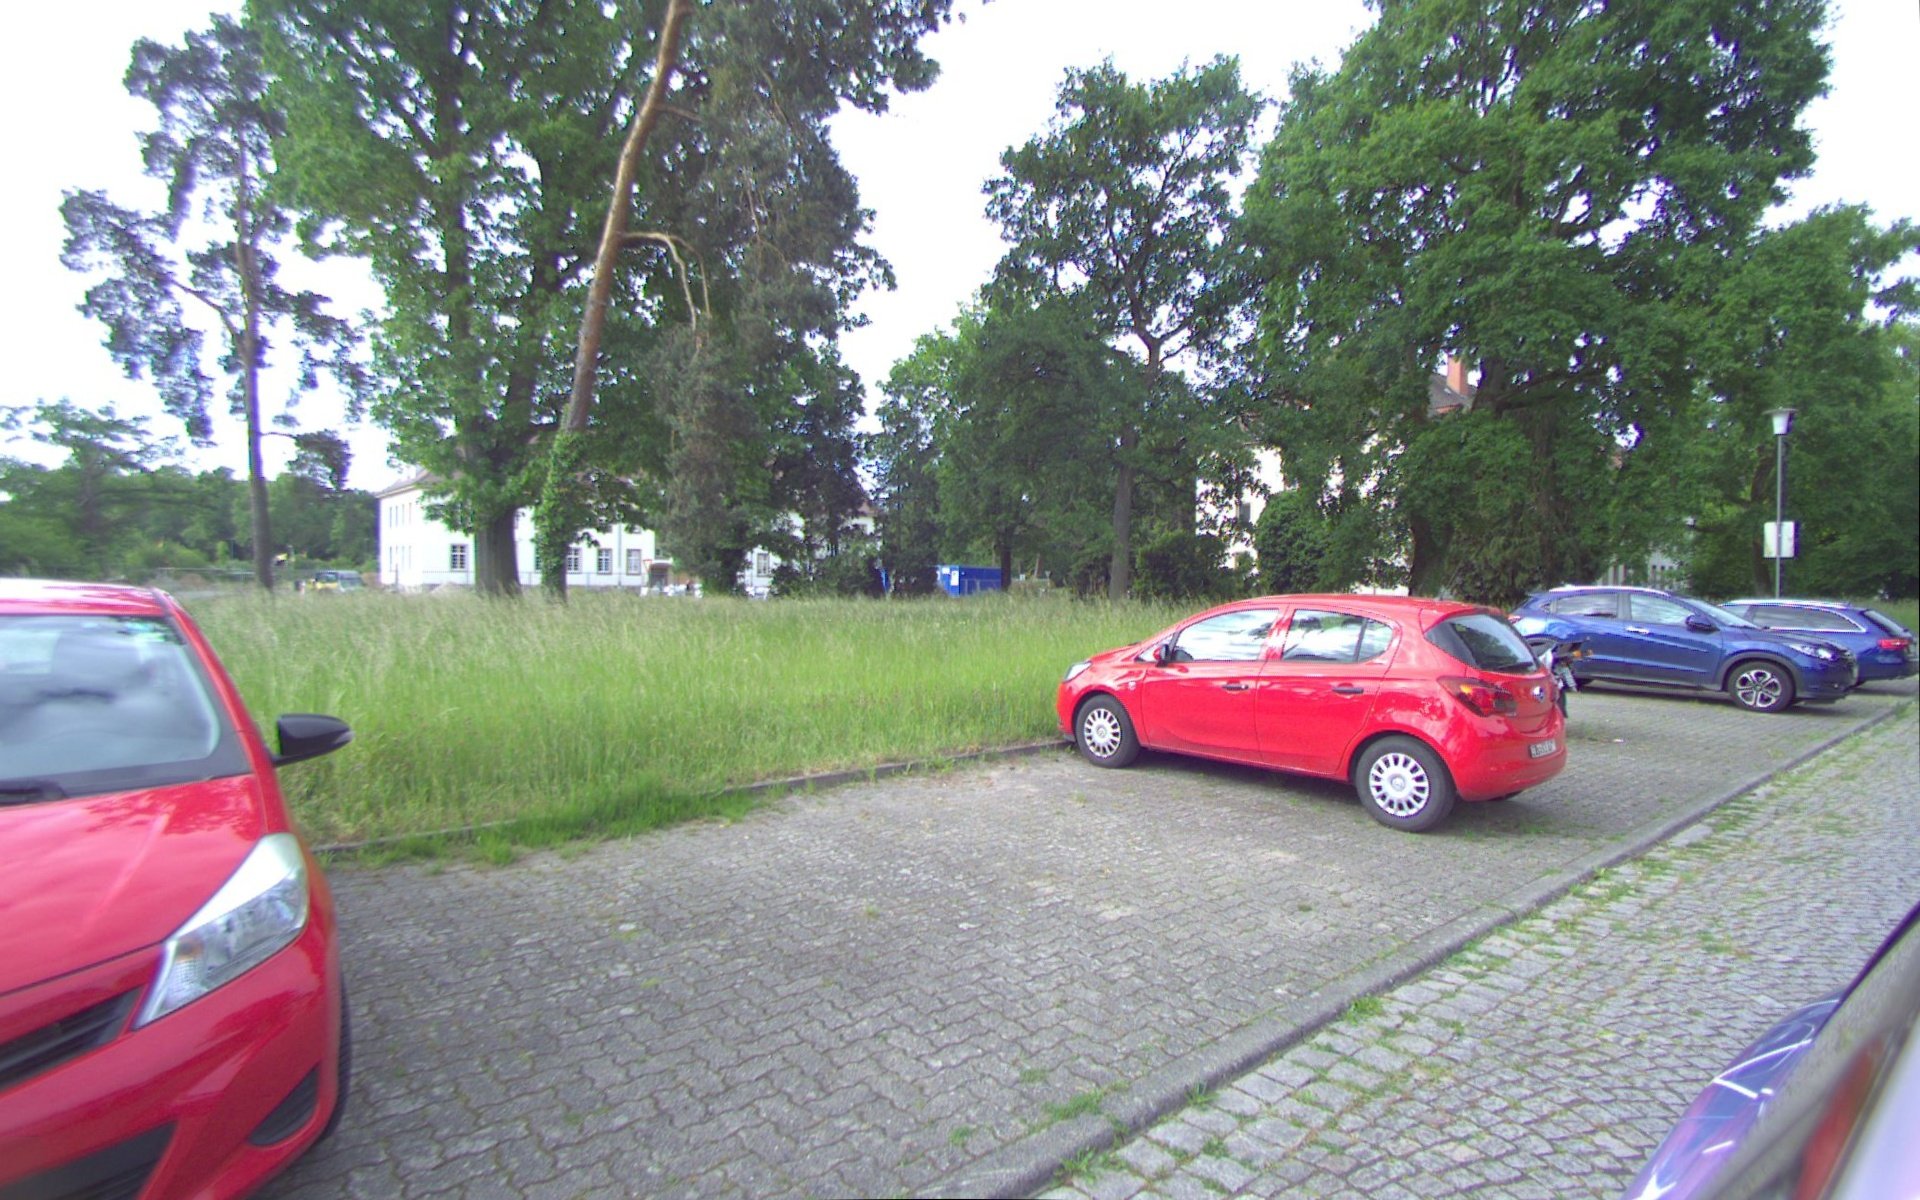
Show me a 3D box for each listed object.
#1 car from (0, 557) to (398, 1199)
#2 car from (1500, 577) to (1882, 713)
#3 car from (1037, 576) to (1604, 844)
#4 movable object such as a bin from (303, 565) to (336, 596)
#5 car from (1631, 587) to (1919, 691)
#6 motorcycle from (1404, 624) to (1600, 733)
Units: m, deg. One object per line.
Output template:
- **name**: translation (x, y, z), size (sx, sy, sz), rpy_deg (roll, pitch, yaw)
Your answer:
- **car**: translation (-3.148, 0.638, 3.144), size (1.734, 1.504, 4.015), rpy_deg (0, 2, -40)
- **car**: translation (10.212, 0.514, 14.415), size (1.555, 1.557, 4.147), rpy_deg (0, 2, -41)
- **car**: translation (2.544, 0.605, 7.899), size (1.555, 1.478, 3.891), rpy_deg (0, 2, -41)
- **movable object such as a bin**: translation (-43.120, -1.308, 68.197), size (1.647, 2.039, 3.248), rpy_deg (0, 1, -28)
- **car**: translation (13.880, 0.569, 17.166), size (1.555, 1.443, 3.875), rpy_deg (0, 2, -41)
- **motorcycle**: translation (5.763, 0.798, 10.832), size (1.741, 0.969, 0.605), rpy_deg (3, 2, 44)
